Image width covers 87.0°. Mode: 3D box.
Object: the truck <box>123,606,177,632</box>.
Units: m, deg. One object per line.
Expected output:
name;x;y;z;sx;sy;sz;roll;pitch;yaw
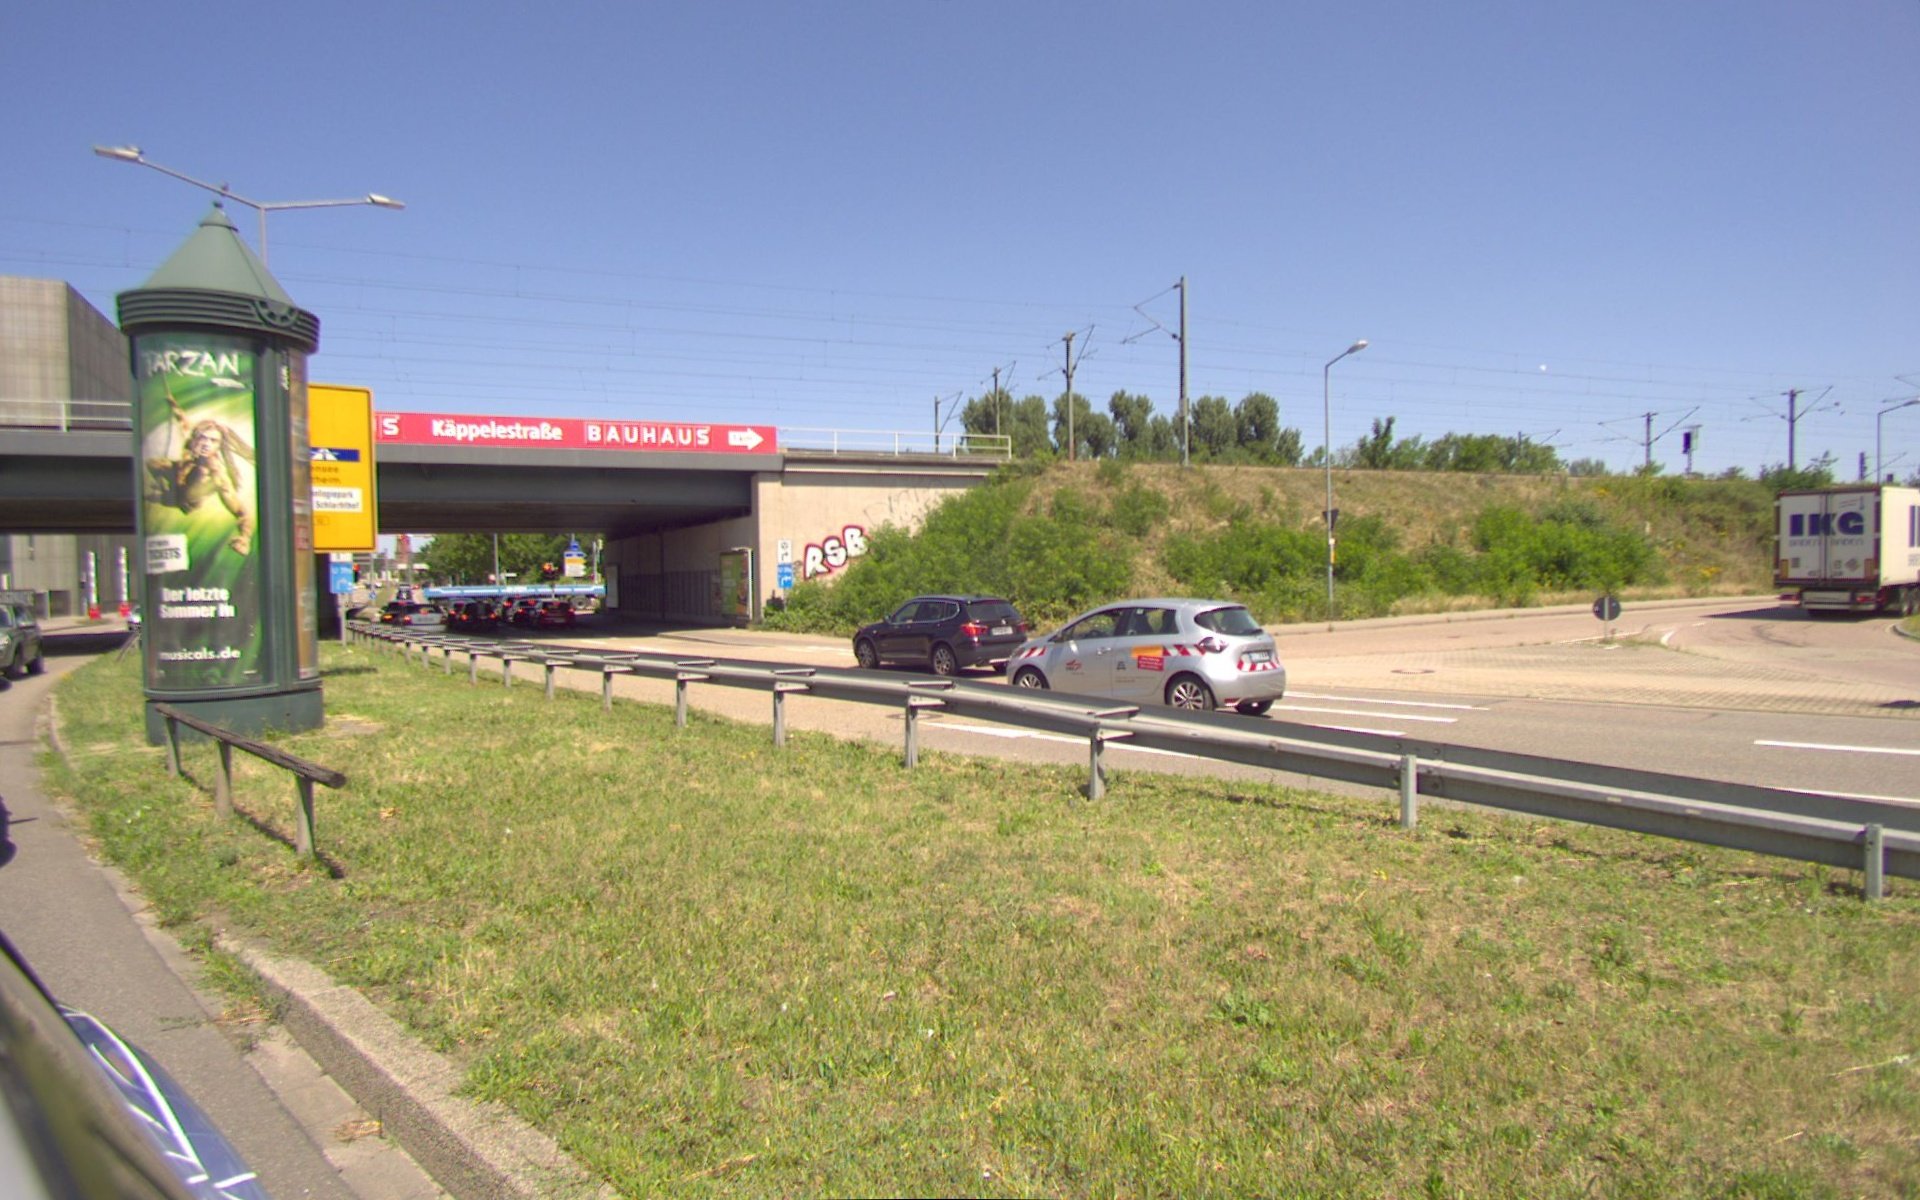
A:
truck;-49.900;1.164;62.395;1.702;1.513;4.013;-1;0;-25

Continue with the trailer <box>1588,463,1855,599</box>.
trailer;26.992;-2.216;35.529;12.489;4.081;3.030;-1;-1;-32

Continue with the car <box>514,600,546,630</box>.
car;-23.441;0.794;55.122;1.548;1.514;3.418;-1;0;-24

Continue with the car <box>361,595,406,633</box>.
car;-30.029;0.698;52.831;1.875;1.874;4.013;-1;0;-28

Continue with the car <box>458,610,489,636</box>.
car;-23.598;1.097;49.162;1.250;1.194;2.787;-1;0;-24

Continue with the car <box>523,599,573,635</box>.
car;-20.484;0.804;50.202;1.747;1.680;4.027;-1;0;-30

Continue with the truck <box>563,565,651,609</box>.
truck;-28.505;-1.073;81.639;6.452;3.443;3.033;-1;0;-24

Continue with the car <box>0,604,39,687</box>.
car;-21.557;0.961;22.066;1.817;1.708;3.708;-1;0;-37

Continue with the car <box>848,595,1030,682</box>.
car;-0.575;0.765;21.734;1.470;1.645;4.482;-1;0;-39

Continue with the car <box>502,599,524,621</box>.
car;-26.934;0.589;60.937;1.166;1.257;2.701;-1;0;-24

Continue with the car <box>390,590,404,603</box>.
car;-90.972;-0.516;163.450;1.966;2.029;4.012;-1;0;-29

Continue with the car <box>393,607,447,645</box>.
car;-20.896;0.979;39.088;1.611;1.413;4.234;1;-1;-31

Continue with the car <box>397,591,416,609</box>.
car;-64.516;-0.010;117.890;1.809;2.029;4.012;-1;0;-30

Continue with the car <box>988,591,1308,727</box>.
car;2.410;0.731;13.746;1.615;1.579;4.075;0;-2;-45

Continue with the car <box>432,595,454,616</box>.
car;-53.019;0.578;103.733;1.809;2.029;4.012;-1;0;-30

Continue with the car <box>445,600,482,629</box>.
car;-26.528;0.760;54.149;1.592;1.487;3.444;-1;0;-24

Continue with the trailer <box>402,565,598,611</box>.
trailer;-35.846;-0.936;79.532;13.662;3.398;2.973;-1;0;-13

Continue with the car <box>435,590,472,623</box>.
car;-30.063;0.390;59.960;1.875;1.874;4.013;-1;0;-28

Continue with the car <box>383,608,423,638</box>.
car;-25.719;1.031;46.787;1.388;1.329;3.272;-1;0;-25
